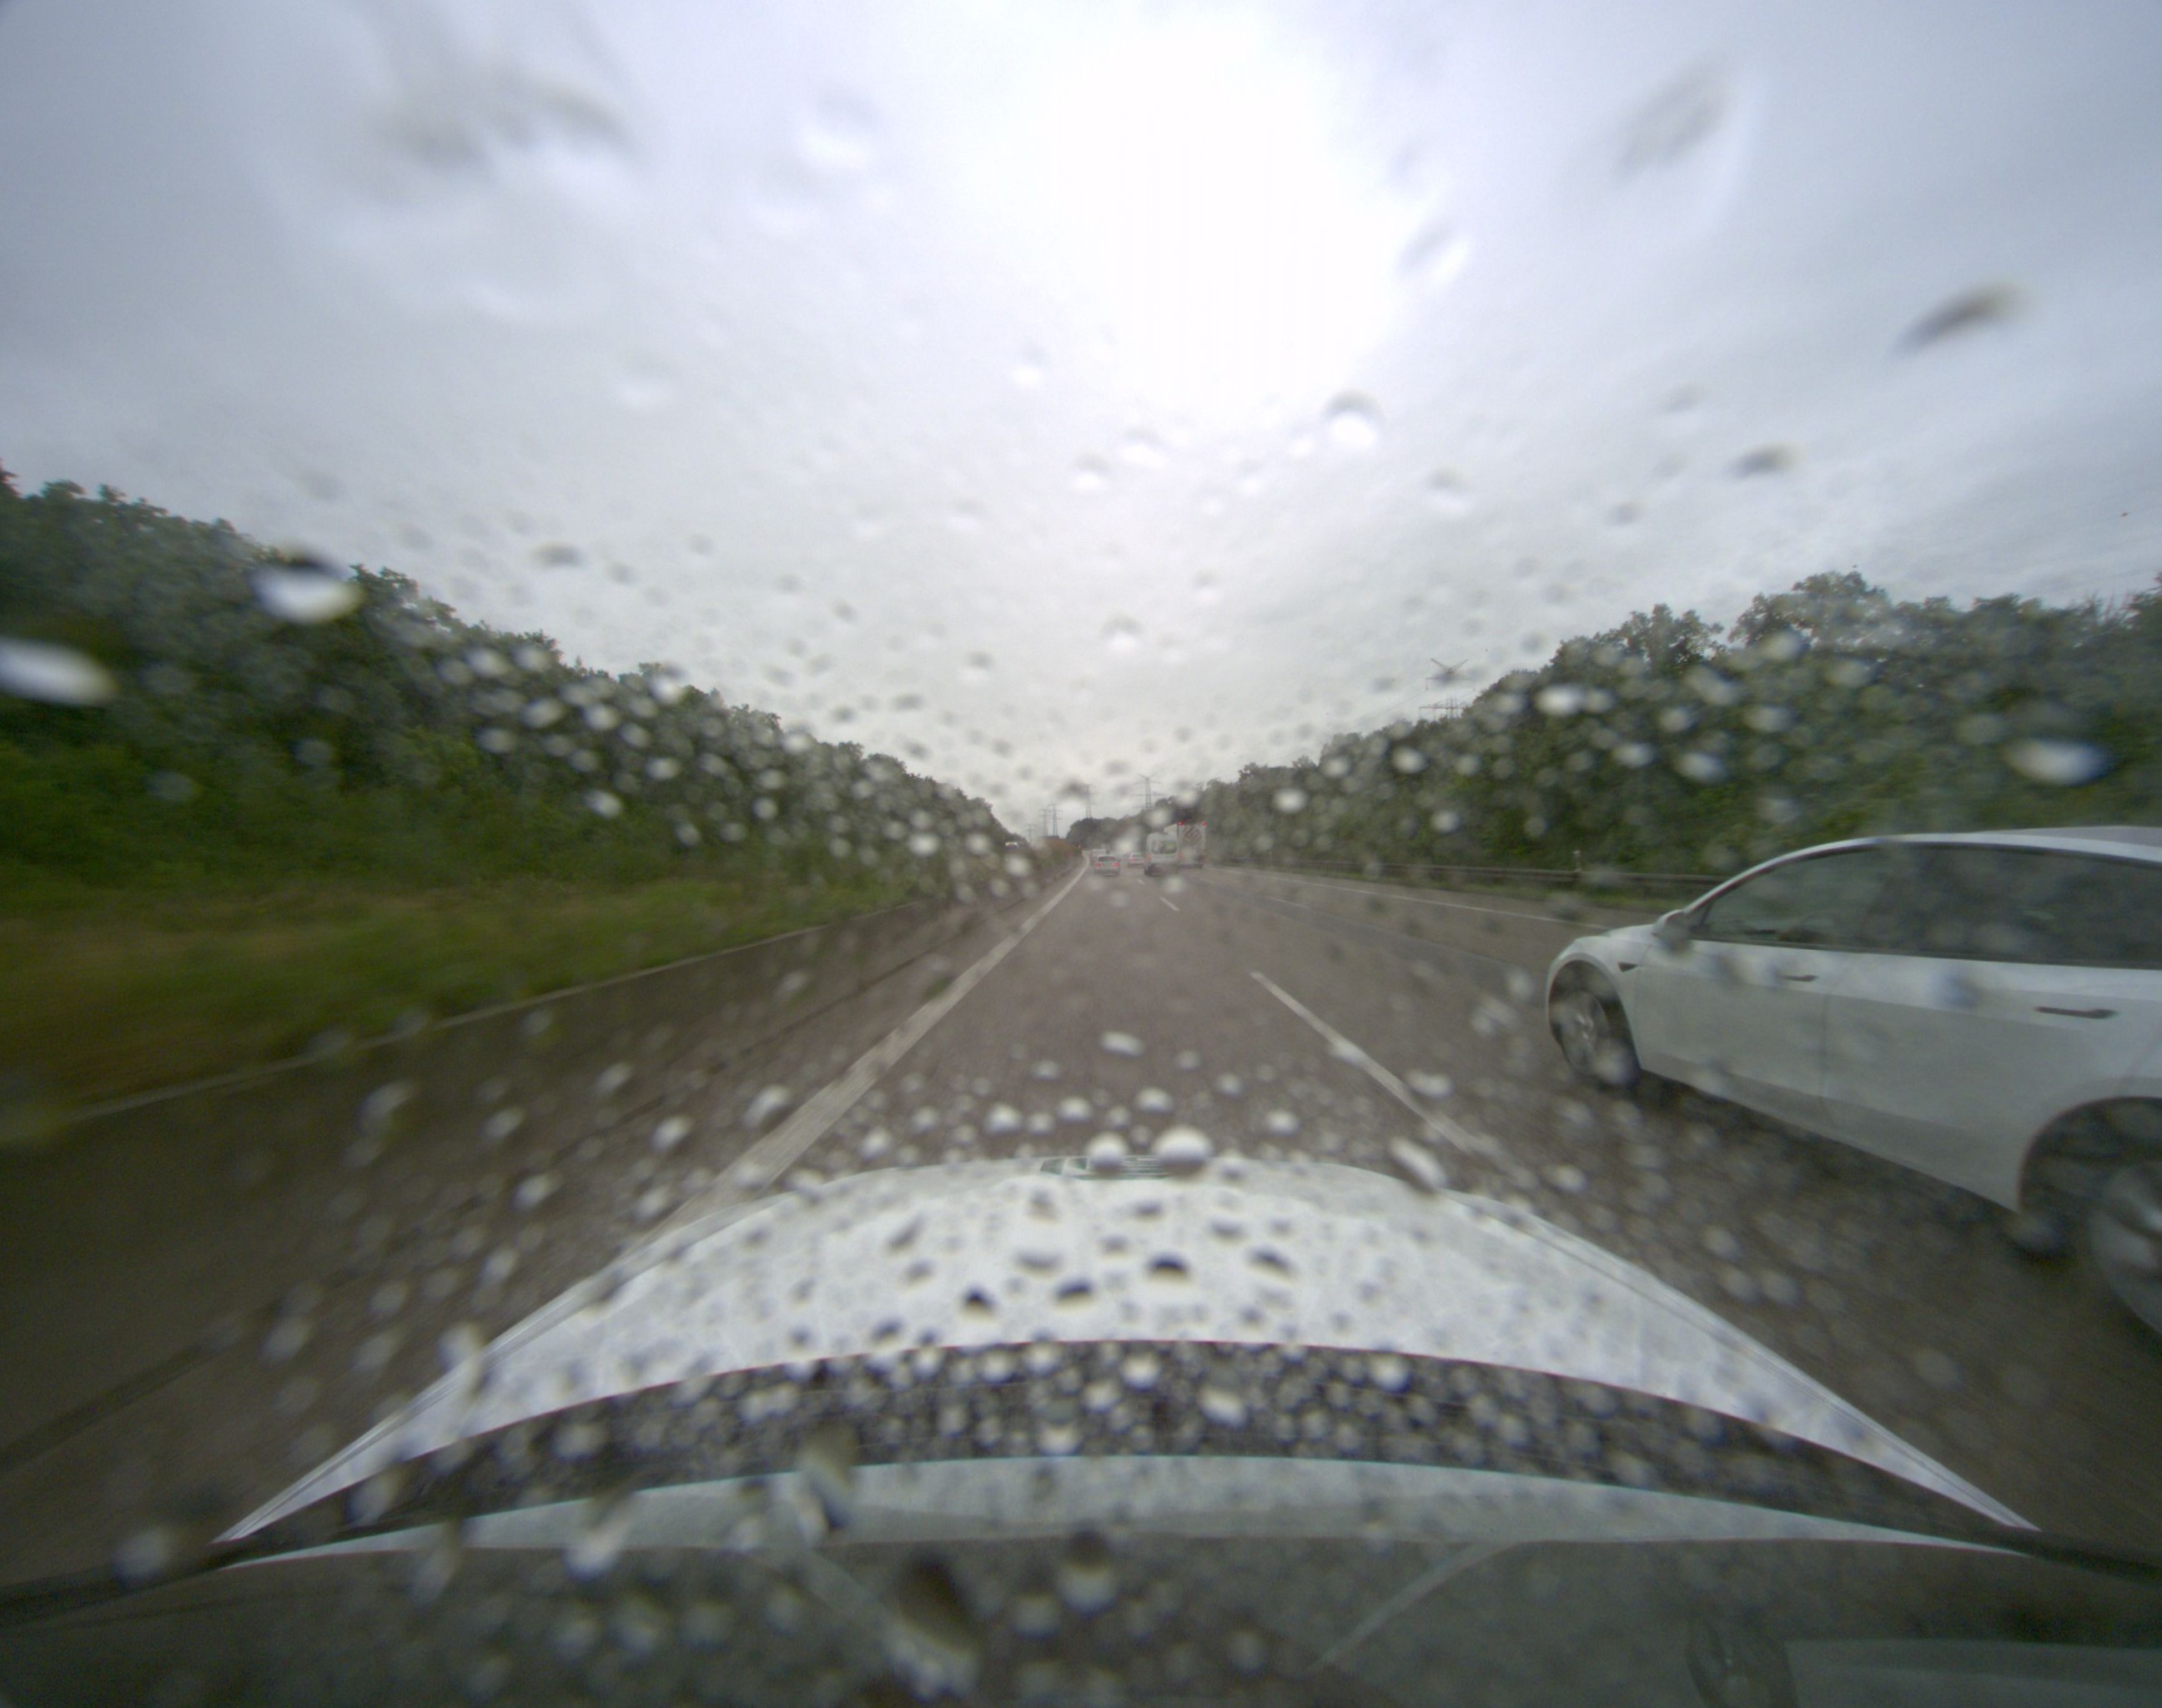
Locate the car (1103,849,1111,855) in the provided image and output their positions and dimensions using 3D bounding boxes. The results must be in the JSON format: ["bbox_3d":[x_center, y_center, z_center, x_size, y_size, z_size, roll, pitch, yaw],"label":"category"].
[{"bbox_3d":[7.030,-0.461,218.855,1.985,1.574,4.003,-3,-1,3],"label":"car"}]

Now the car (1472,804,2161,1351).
[{"bbox_3d":[4.030,0.630,4.003,1.854,1.568,4.964,-1,0,0],"label":"car"}]

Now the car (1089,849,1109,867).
[{"bbox_3d":[1.949,0.373,86.627,1.838,1.772,4.003,-2,0,3],"label":"car"}]

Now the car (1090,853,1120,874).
[{"bbox_3d":[1.666,0.635,54.929,1.859,1.288,4.004,-2,0,3],"label":"car"}]

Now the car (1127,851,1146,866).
[{"bbox_3d":[5.557,0.459,80.999,1.848,1.422,4.005,-1,0,4],"label":"car"}]

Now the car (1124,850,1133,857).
[{"bbox_3d":[10.560,-0.103,180.556,1.985,1.486,4.003,-4,-1,3],"label":"car"}]

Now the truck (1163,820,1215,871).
[{"bbox_3d":[10.081,-0.687,77.681,3.589,4.332,13.206,-2,0,2],"label":"truck"}]

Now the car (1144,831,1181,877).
[{"bbox_3d":[5.295,-0.001,53.092,1.986,2.864,4.001,-2,0,1],"label":"car"}]
